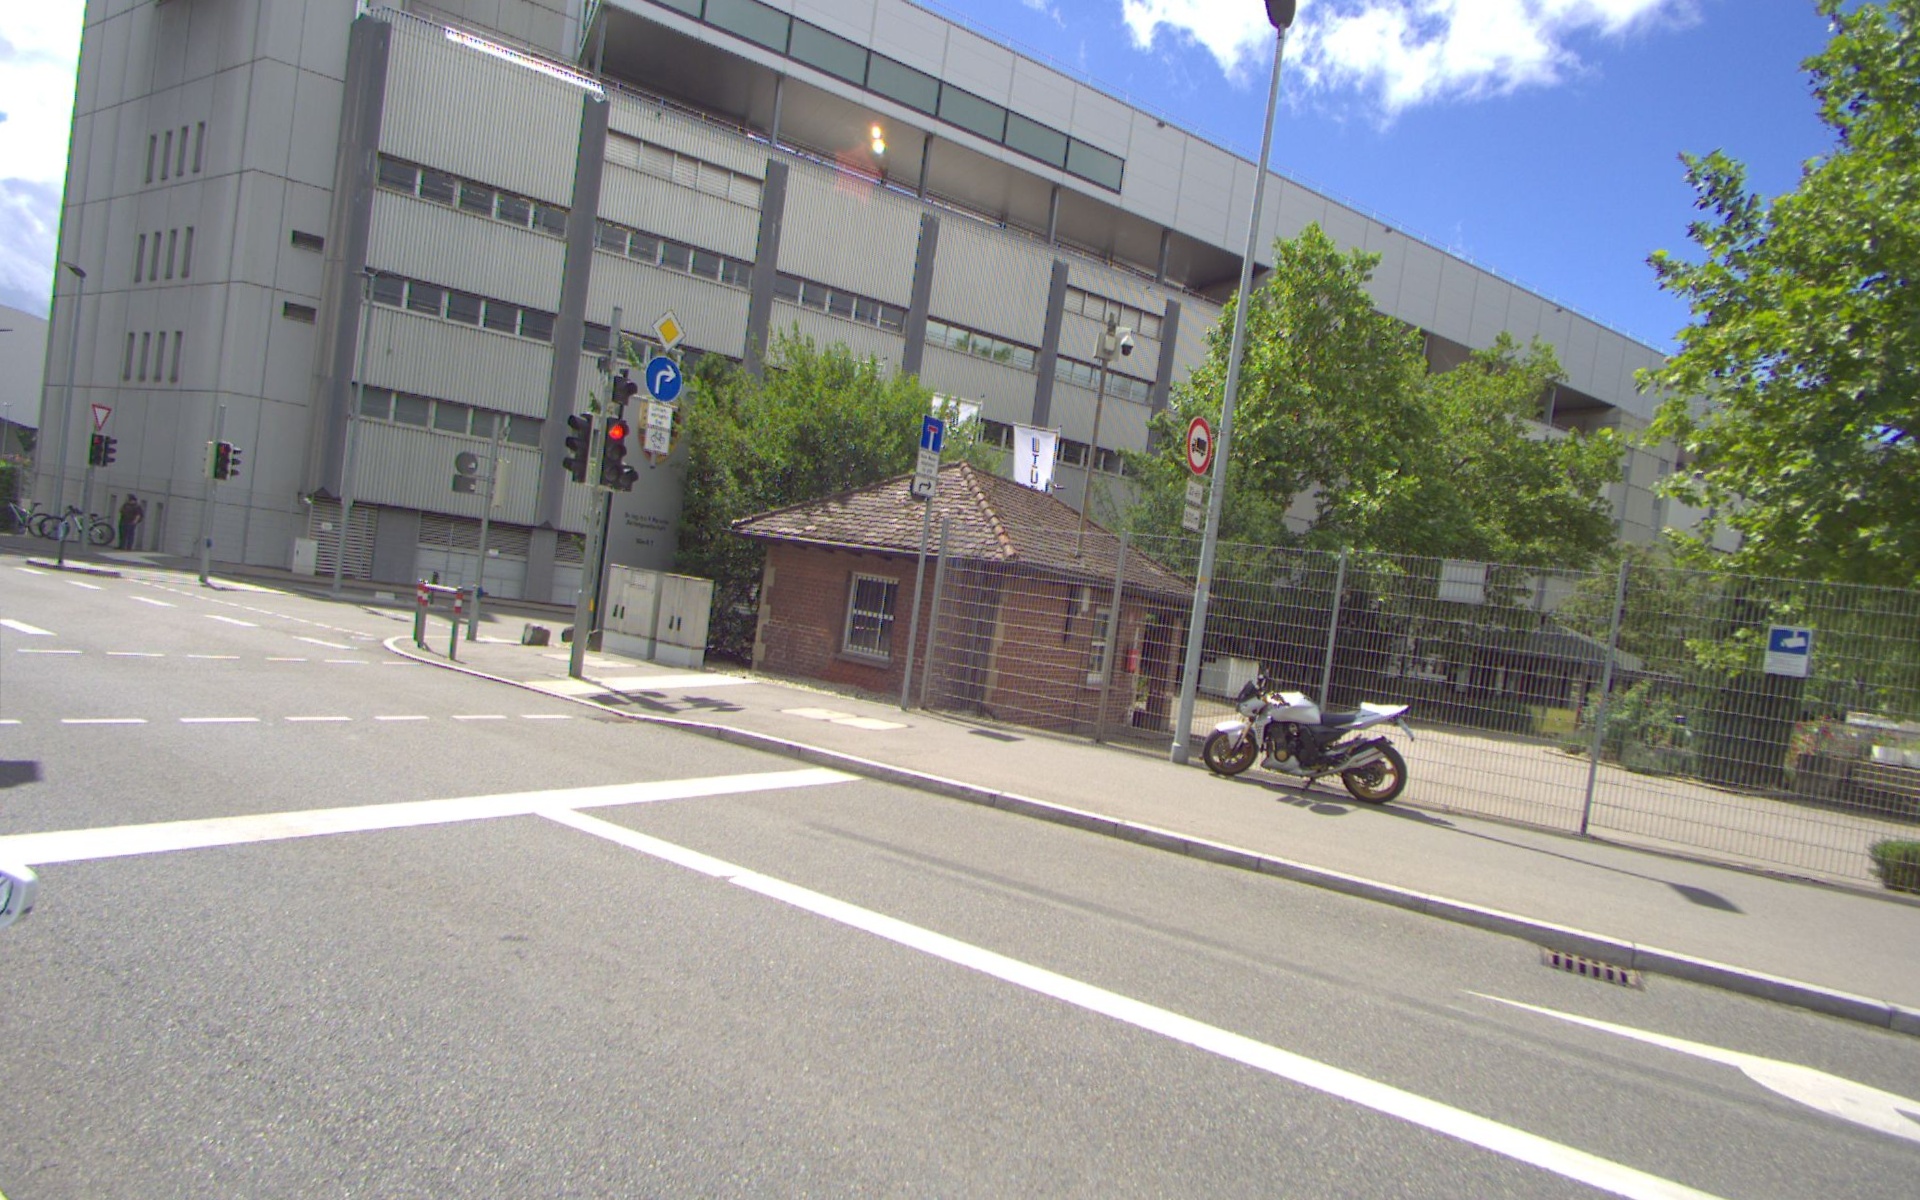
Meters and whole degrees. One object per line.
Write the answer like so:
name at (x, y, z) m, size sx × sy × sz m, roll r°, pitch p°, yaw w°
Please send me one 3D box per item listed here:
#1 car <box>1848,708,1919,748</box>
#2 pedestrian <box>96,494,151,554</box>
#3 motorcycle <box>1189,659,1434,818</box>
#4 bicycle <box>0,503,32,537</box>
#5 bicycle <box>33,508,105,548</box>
car at (53.068, 7.291, 56.770) m, size 1.979 × 1.803 × 3.971 m, roll 8°, pitch -2°, yaw -30°
pedestrian at (-25.459, -2.304, 30.647) m, size 0.837 × 1.644 × 0.953 m, roll 7°, pitch 0°, yaw -17°
motorcycle at (3.464, 1.310, 9.979) m, size 2.110 × 1.173 × 0.693 m, roll 7°, pitch 2°, yaw 27°
bicycle at (-29.665, -2.531, 31.069) m, size 1.891 × 0.948 × 0.399 m, roll 7°, pitch 0°, yaw 13°
bicycle at (-27.240, -2.196, 30.753) m, size 1.892 × 0.948 × 0.399 m, roll 7°, pitch 0°, yaw 6°
